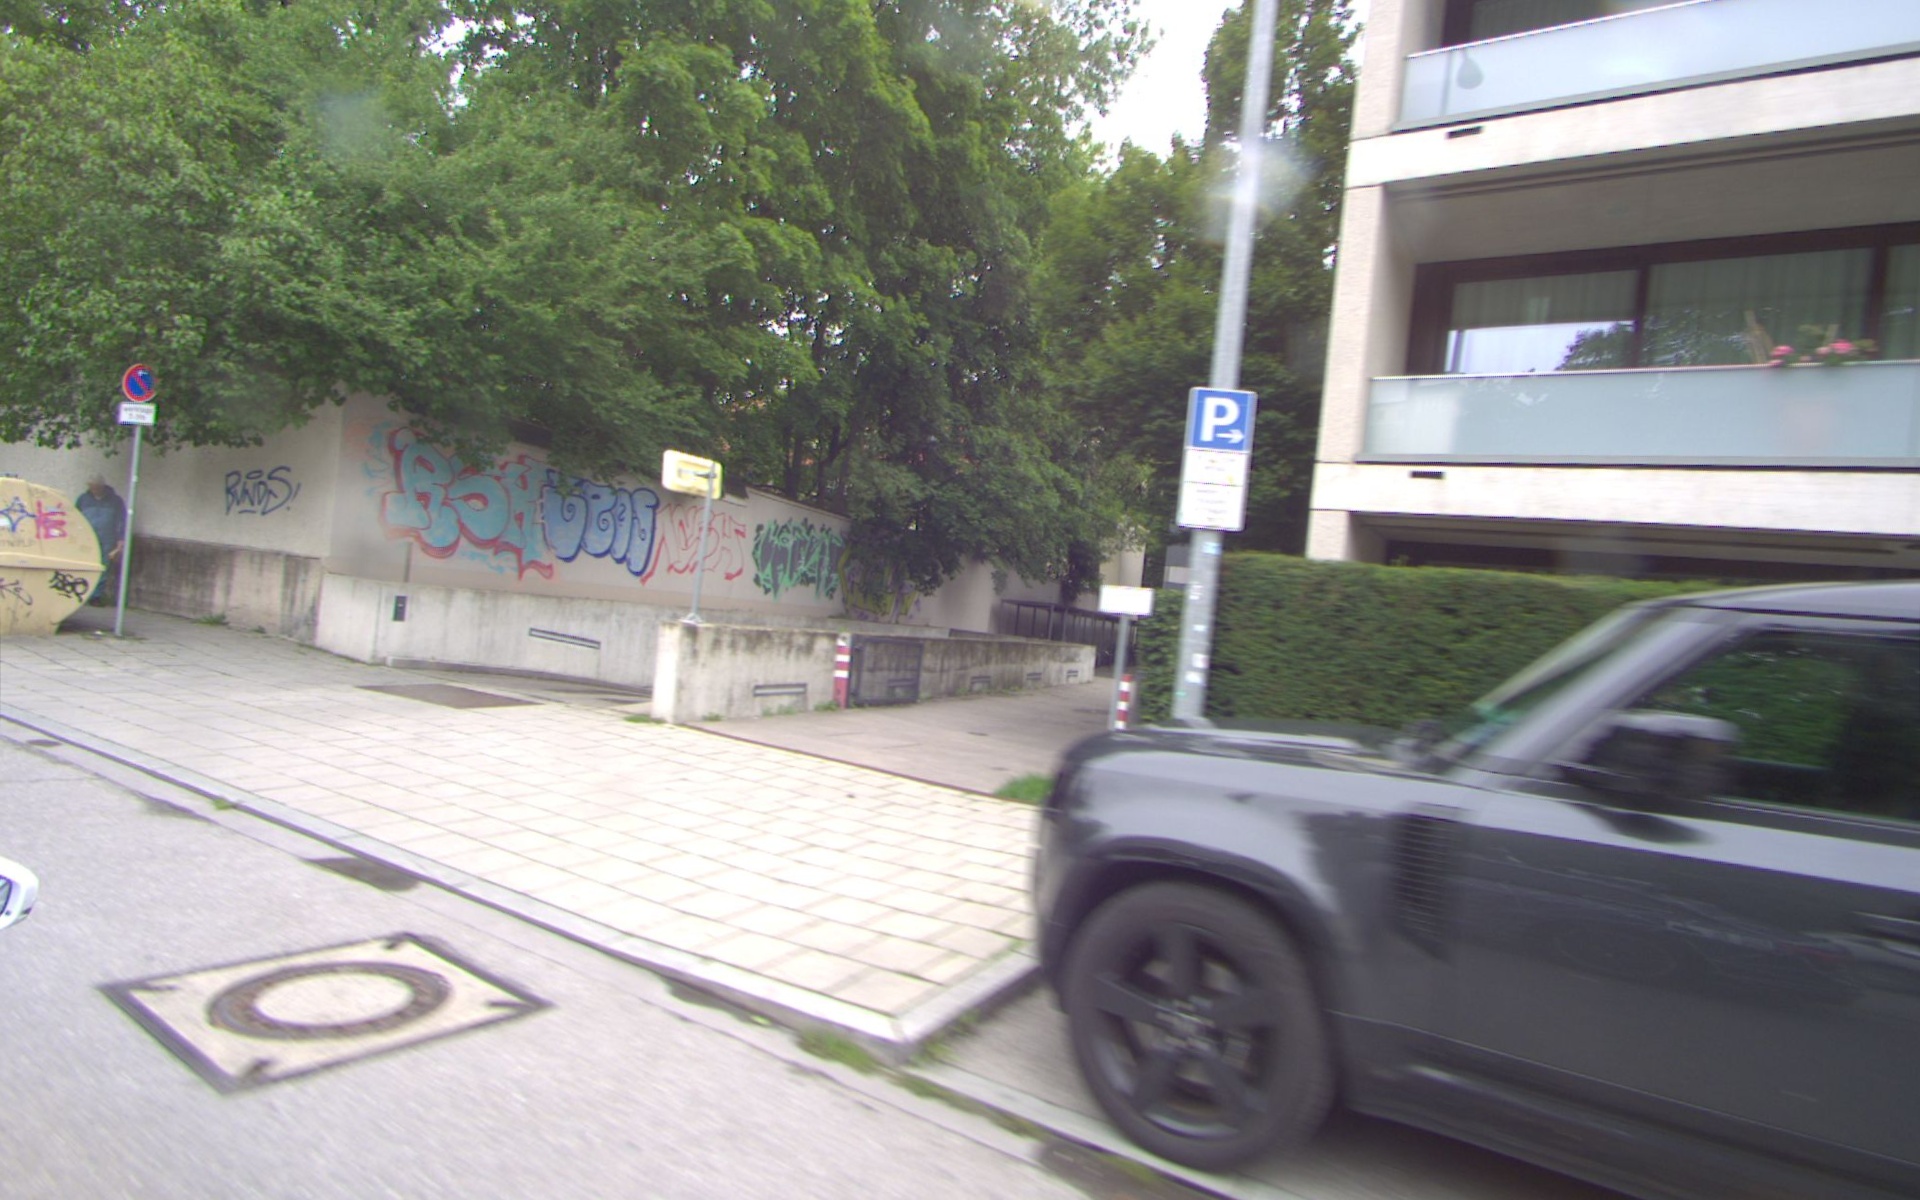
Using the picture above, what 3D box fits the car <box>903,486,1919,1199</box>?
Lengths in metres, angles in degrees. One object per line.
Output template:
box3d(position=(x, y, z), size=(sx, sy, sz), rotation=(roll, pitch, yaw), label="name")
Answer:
box3d(position=(2.531, 0.851, 2.911), size=(4.993, 1.894, 1.991), rotation=(6, -1, 31), label="car")

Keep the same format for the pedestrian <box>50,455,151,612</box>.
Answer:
box3d(position=(-11.648, -0.895, 13.641), size=(0.784, 2.010, 0.630), rotation=(7, 1, 25), label="pedestrian")
